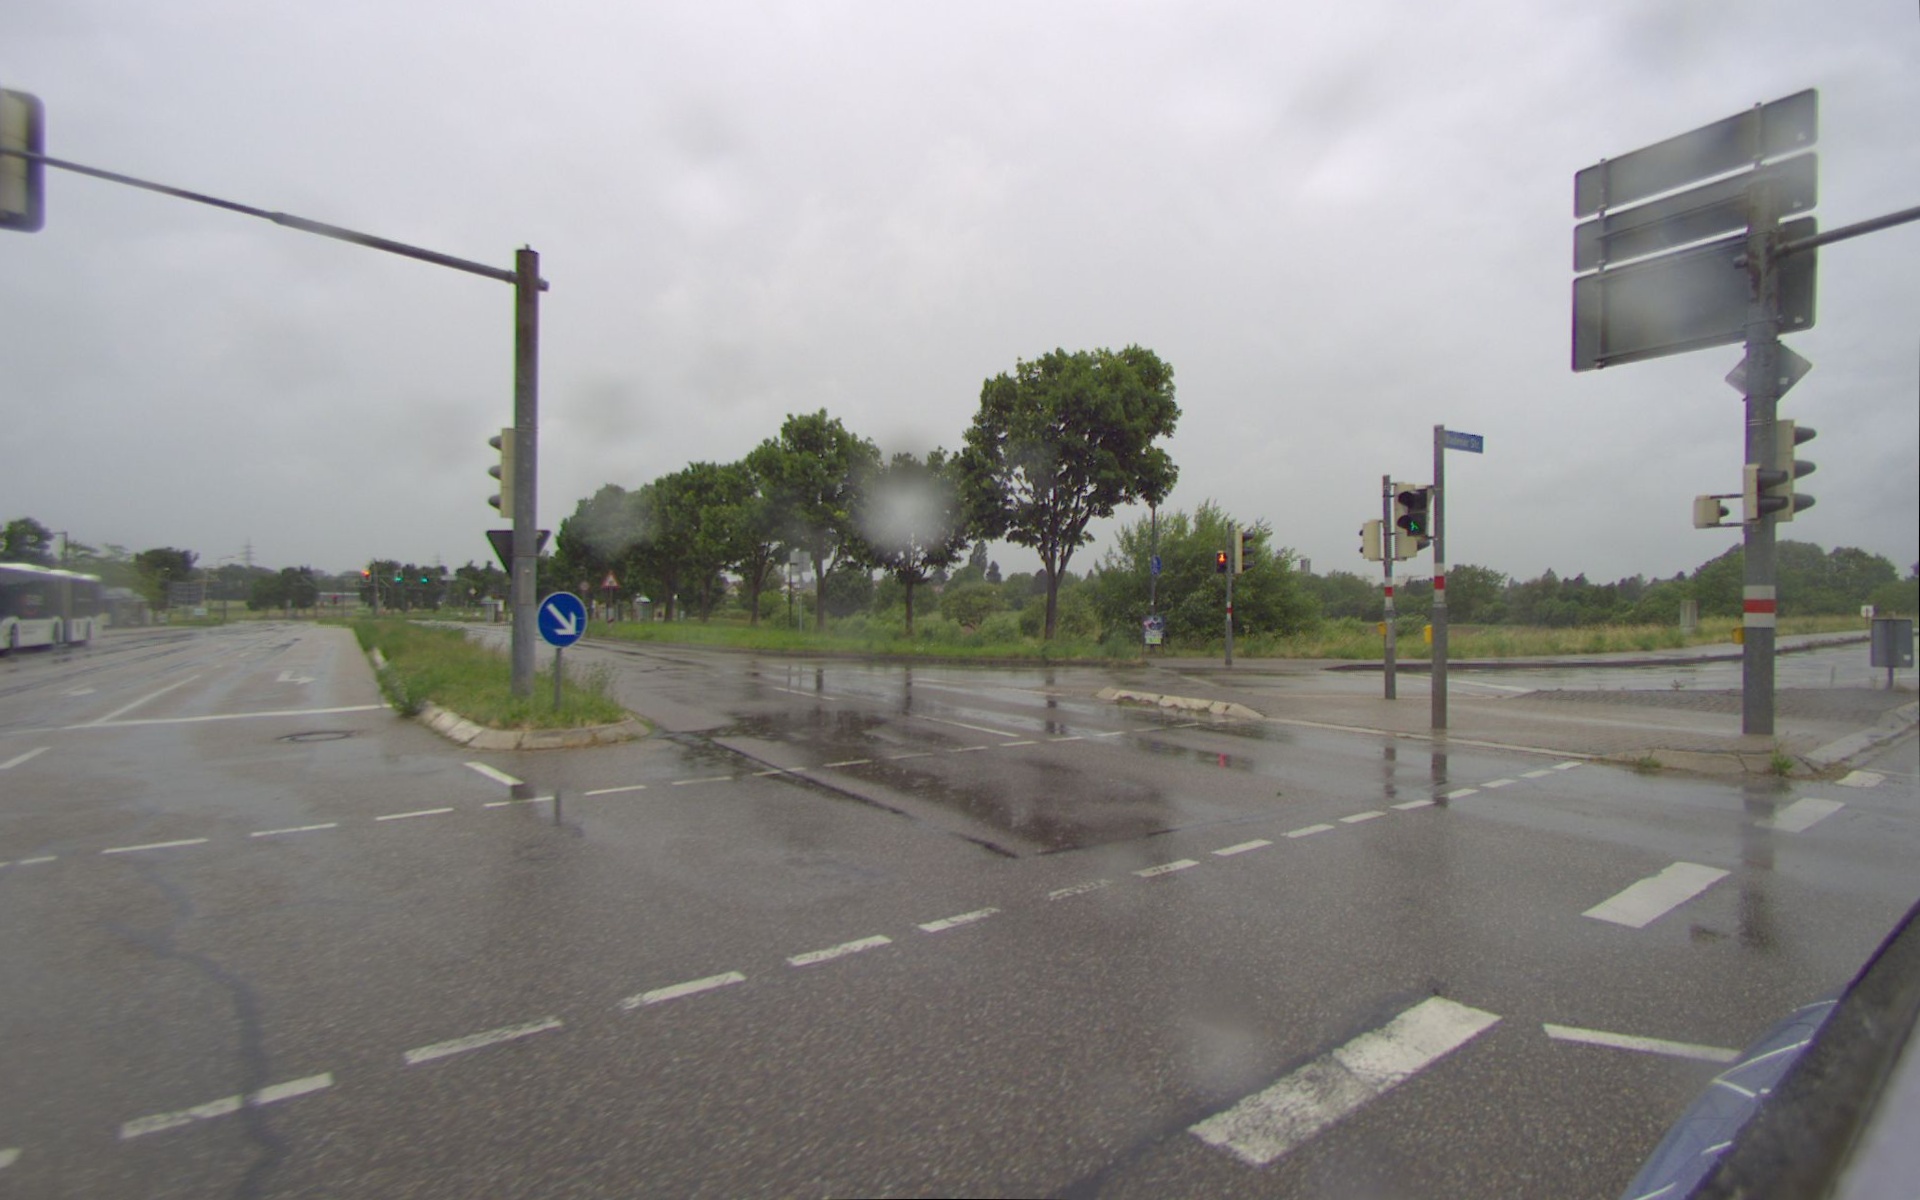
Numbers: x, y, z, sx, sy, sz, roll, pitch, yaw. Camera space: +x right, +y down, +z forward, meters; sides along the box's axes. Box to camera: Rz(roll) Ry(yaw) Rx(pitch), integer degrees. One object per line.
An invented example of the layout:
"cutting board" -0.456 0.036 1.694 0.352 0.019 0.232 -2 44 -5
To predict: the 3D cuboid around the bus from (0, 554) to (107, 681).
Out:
"bus" -34.680 0.468 37.091 2.702 3.831 18.451 0 0 -32
